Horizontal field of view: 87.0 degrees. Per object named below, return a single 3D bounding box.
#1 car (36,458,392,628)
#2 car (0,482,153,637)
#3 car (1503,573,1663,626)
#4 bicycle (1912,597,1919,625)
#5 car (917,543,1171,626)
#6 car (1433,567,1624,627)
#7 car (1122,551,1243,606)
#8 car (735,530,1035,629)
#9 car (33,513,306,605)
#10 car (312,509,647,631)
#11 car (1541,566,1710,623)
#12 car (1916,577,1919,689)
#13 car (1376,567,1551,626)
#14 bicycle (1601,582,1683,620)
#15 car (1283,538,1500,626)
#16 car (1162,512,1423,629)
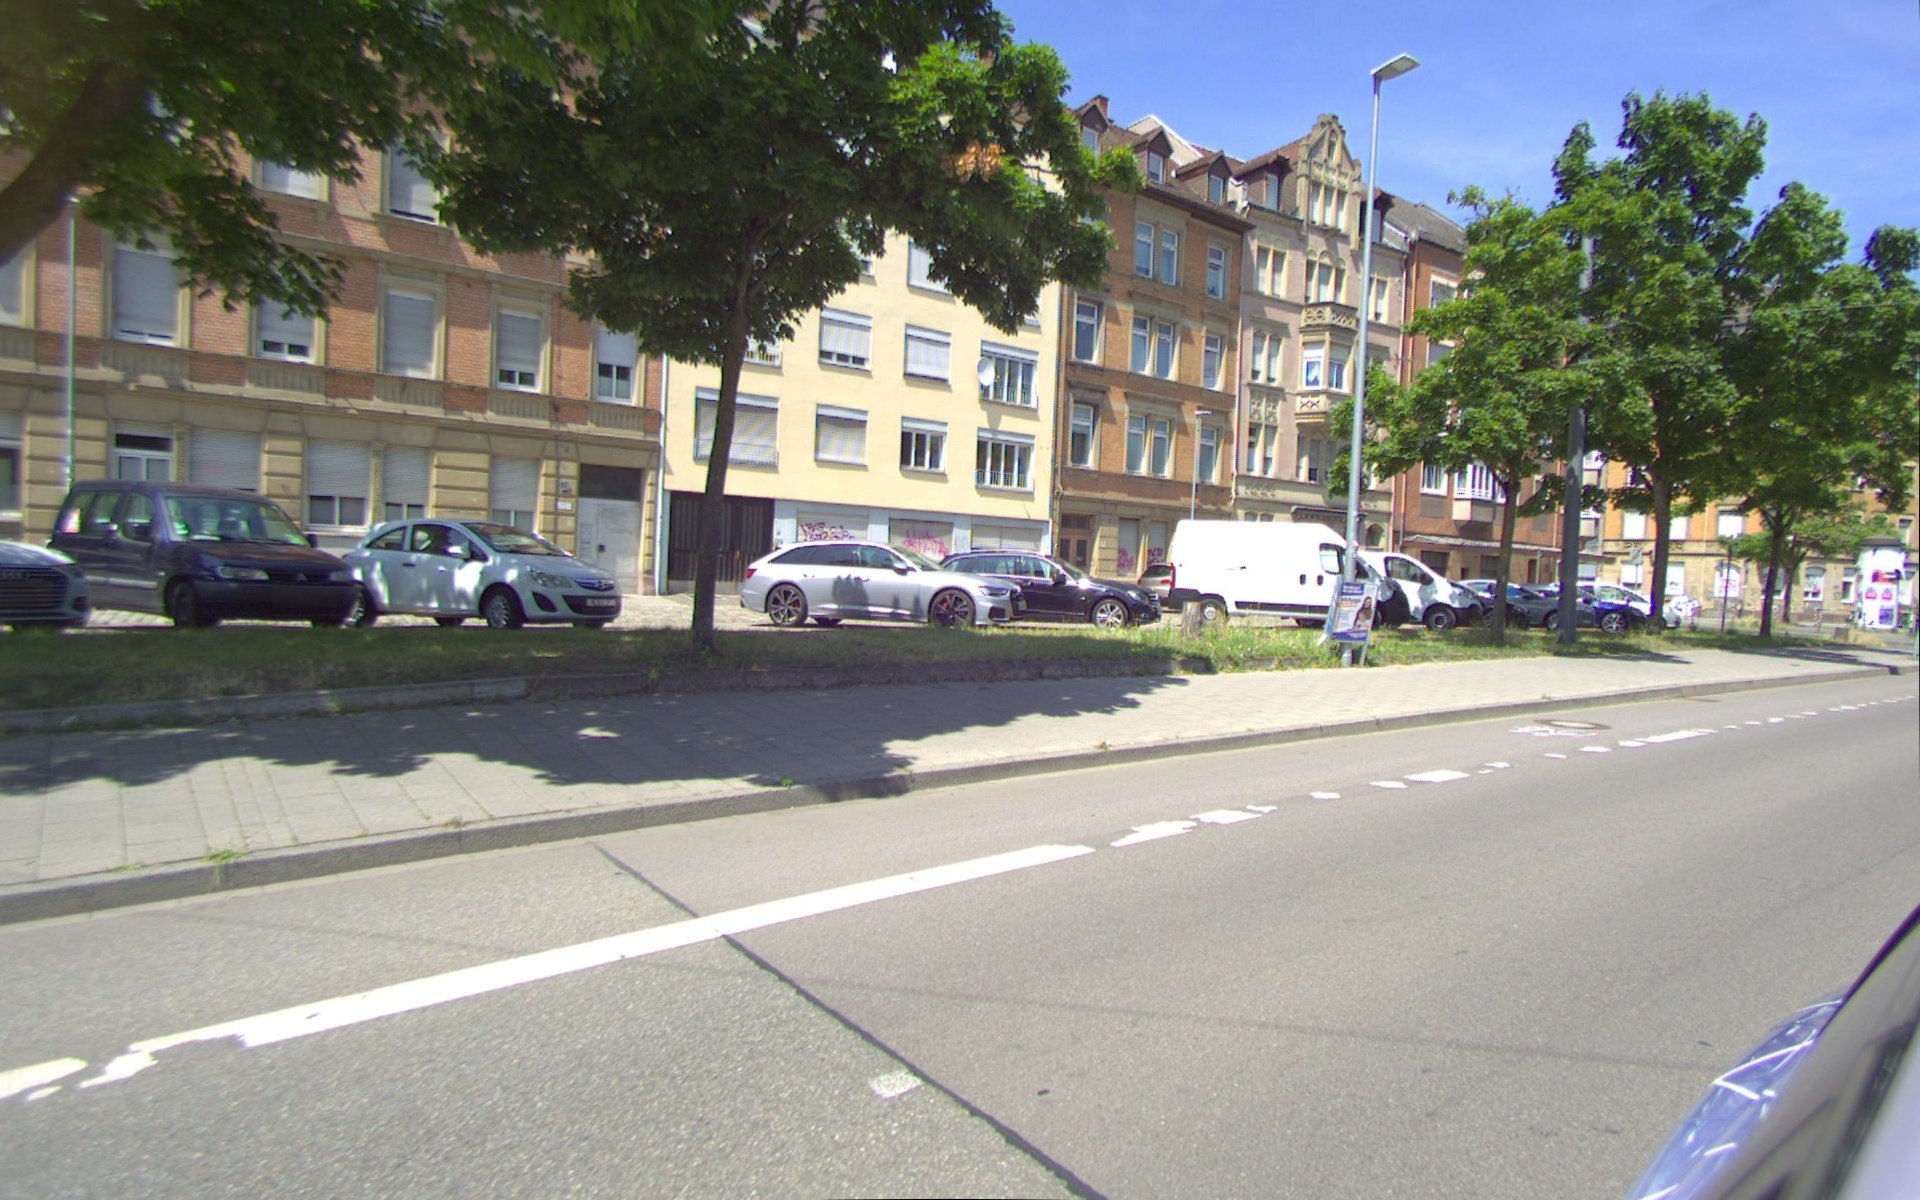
[{"bbox_3d":[-8.785,-0.640,11.876,3.967,1.682,1.951,2,1,30],"label":"car"},{"bbox_3d":[-10.493,-0.427,9.543,4.718,1.330,2.140,2,1,15],"label":"car"},{"bbox_3d":[18.748,-0.058,30.543,3.975,1.417,1.801,2,1,35],"label":"car"},{"bbox_3d":[40.470,0.462,42.467,1.677,1.167,0.487,1,1,-38],"label":"bicycle"},{"bbox_3d":[1.597,-0.315,18.890,4.375,1.355,1.960,2,1,19],"label":"car"},{"bbox_3d":[16.205,-0.122,28.981,4.598,1.515,1.943,2,1,32],"label":"car"},{"bbox_3d":[7.495,-0.709,33.976,3.925,1.705,1.825,1,1,-36],"label":"car"},{"bbox_3d":[-1.238,-0.378,16.966,4.633,1.445,1.960,2,1,20],"label":"car"},{"bbox_3d":[-13.816,-0.683,17.949,3.645,1.438,1.785,1,1,-36],"label":"car"},{"bbox_3d":[-6.296,-0.423,13.290,3.950,1.417,1.701,2,1,20],"label":"car"},{"bbox_3d":[21.297,-0.204,32.554,4.383,1.652,1.976,2,1,34],"label":"car"},{"bbox_3d":[16.960,0.460,15.618,5.063,1.857,1.863,1,1,-31],"label":"car"},{"bbox_3d":[13.460,-0.126,27.131,3.975,1.404,1.801,2,1,35],"label":"car"},{"bbox_3d":[23.638,0.030,35.087,2.314,1.208,0.742,1,1,-2],"label":"bicycle"},{"bbox_3d":[10.775,-0.492,25.423,4.802,1.997,2.057,2,1,27],"label":"car"},{"bbox_3d":[7.677,-0.737,23.706,5.481,2.491,2.224,2,1,20],"label":"car"}]
